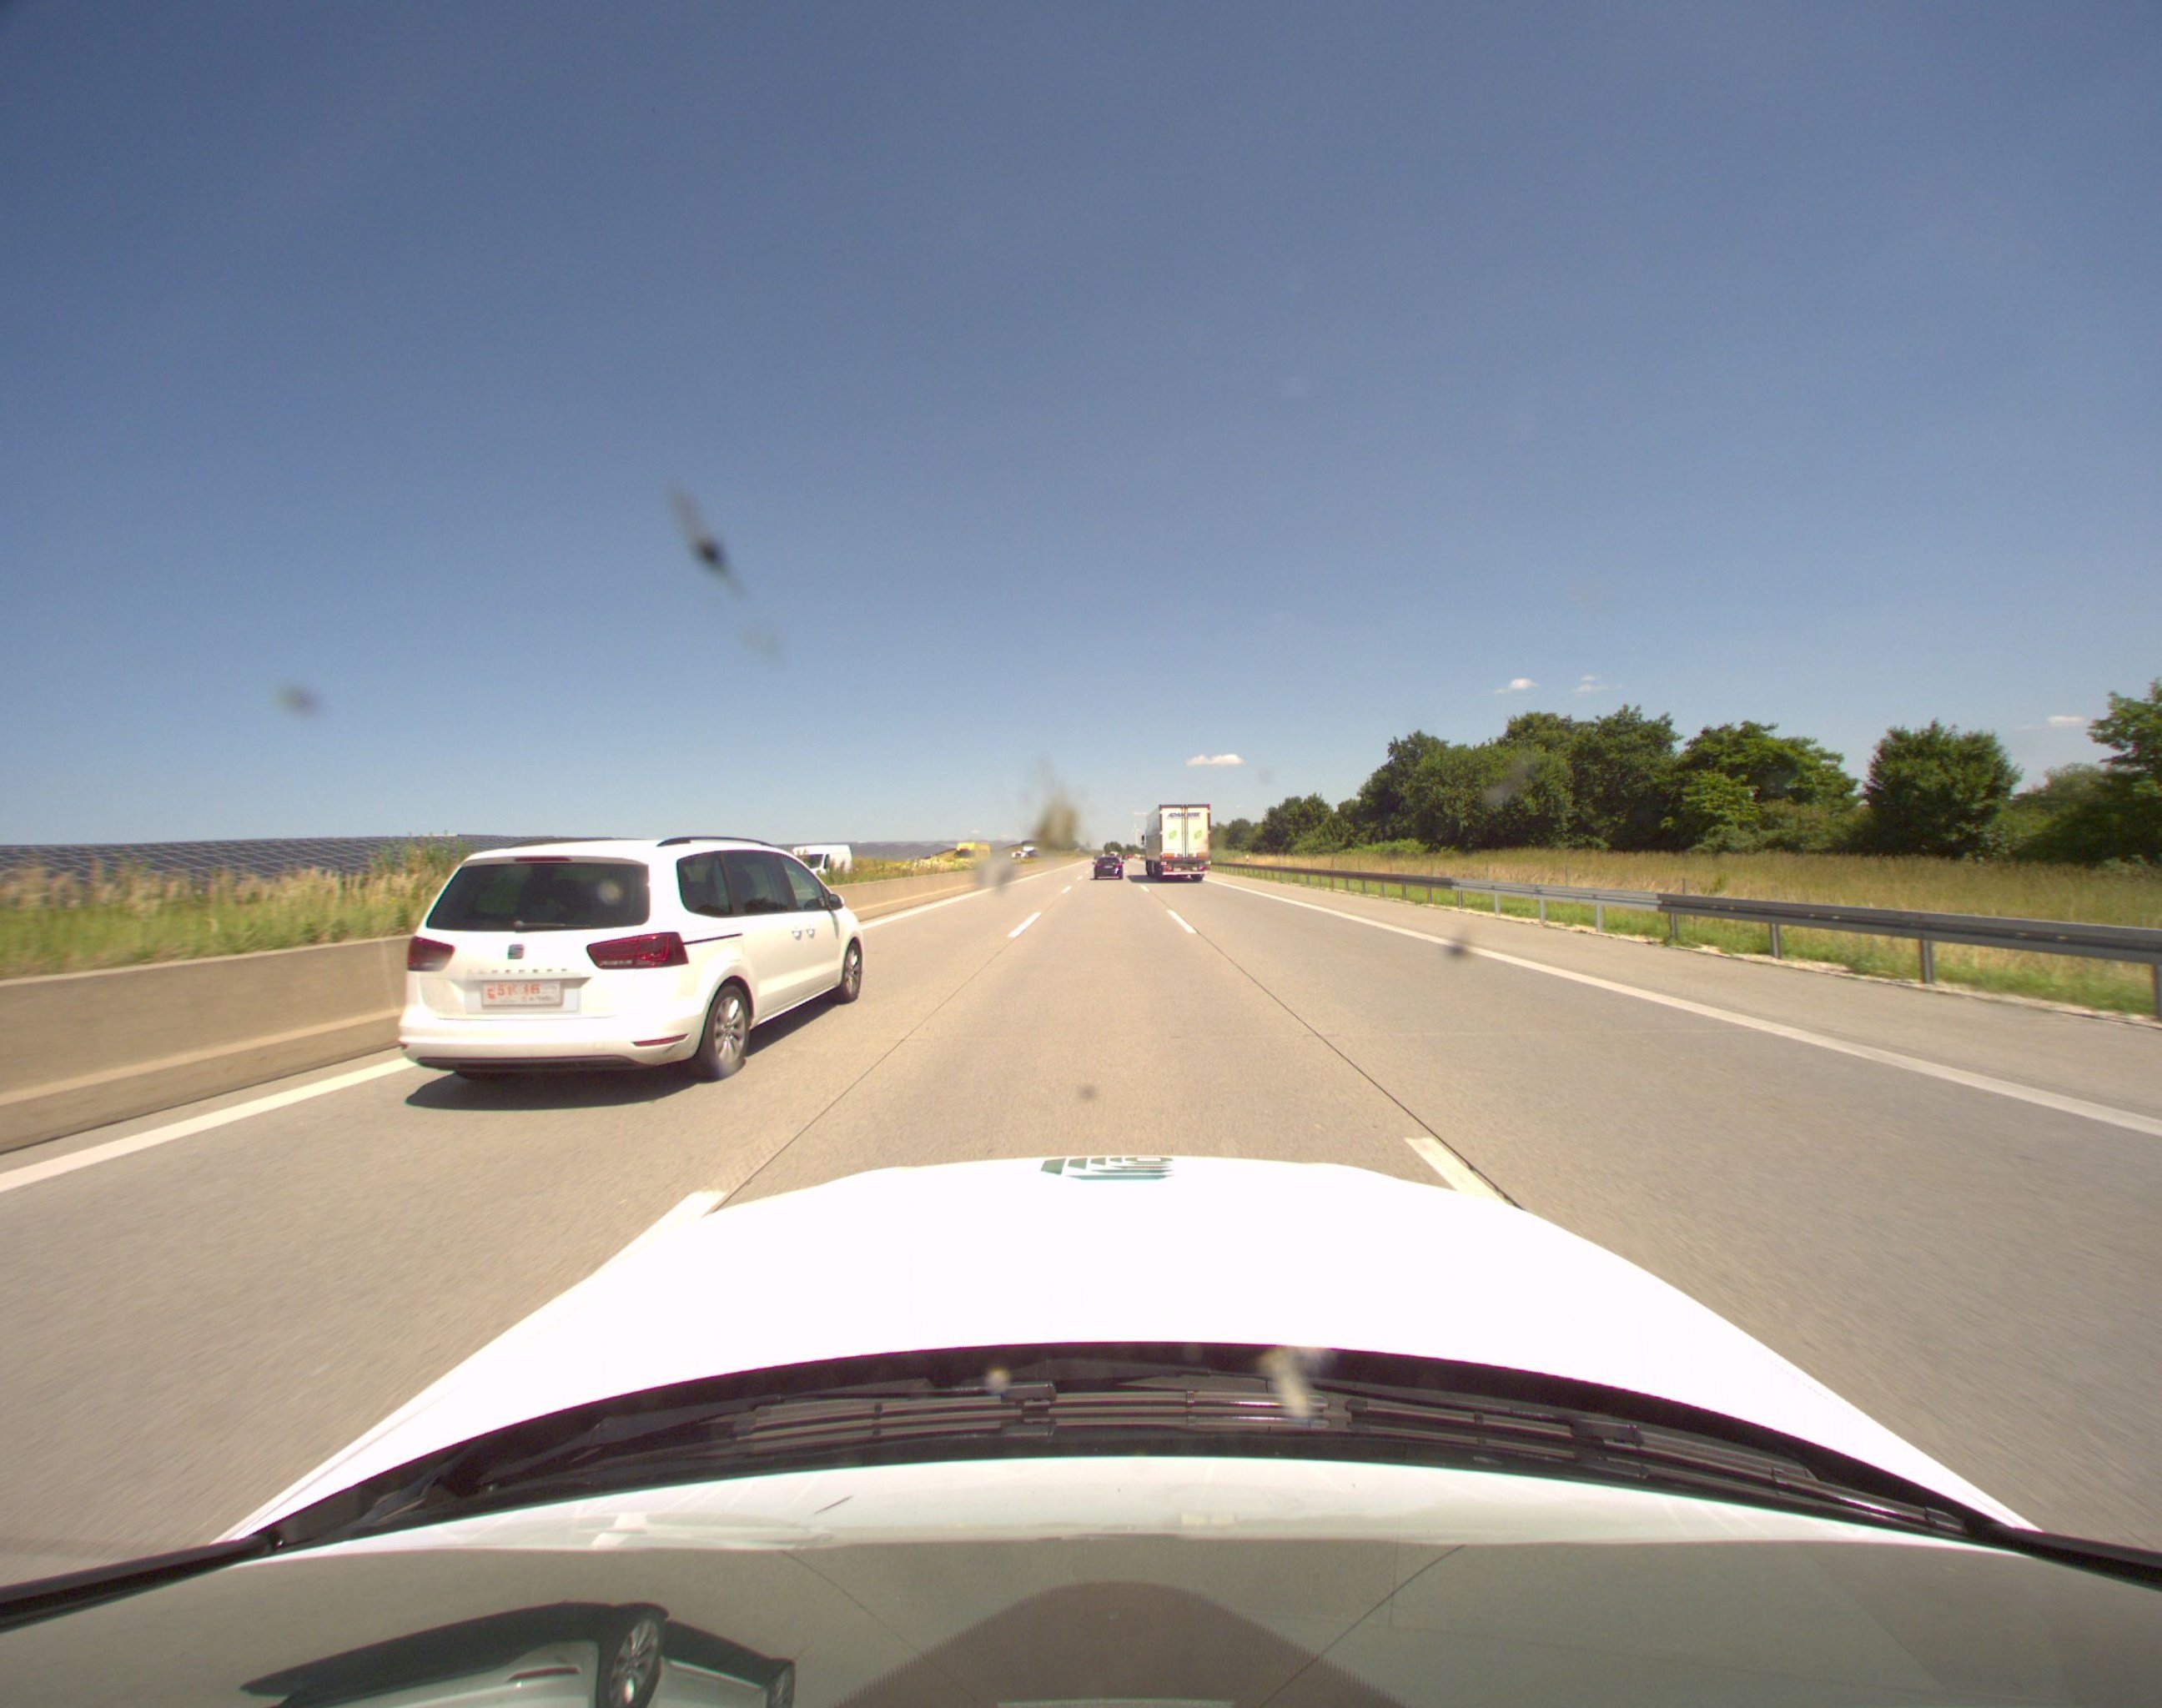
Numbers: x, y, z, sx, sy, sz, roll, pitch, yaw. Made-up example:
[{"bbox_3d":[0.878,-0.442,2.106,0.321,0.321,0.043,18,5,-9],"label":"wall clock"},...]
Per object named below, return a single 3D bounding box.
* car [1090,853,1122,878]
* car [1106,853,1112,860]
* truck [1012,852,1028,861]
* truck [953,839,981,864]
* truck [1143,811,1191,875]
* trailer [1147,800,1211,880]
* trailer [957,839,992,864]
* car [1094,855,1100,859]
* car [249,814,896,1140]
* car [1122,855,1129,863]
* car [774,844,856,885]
[{"bbox_3d":[1.536,0.672,50.457,1.904,1.492,4.192,0,0,1],"label":"car"},{"bbox_3d":[8.609,0.737,253.513,1.820,1.937,3.810,-1,-1,1],"label":"car"},{"bbox_3d":[-13.118,0.546,176.101,2.507,2.014,7.633,0,-1,2],"label":"truck"},{"bbox_3d":[-16.552,-0.362,118.272,2.911,3.540,6.351,-1,-1,2],"label":"truck"},{"bbox_3d":[5.812,-0.702,55.835,2.801,4.088,5.801,-1,0,2],"label":"truck"},{"bbox_3d":[5.478,-0.687,47.697,2.841,4.042,12.722,-1,0,3],"label":"trailer"},{"bbox_3d":[-16.239,-0.300,125.073,2.920,3.551,14.026,0,-1,2],"label":"trailer"},{"bbox_3d":[4.598,0.817,233.570,1.649,1.196,3.962,2,0,2],"label":"car"},{"bbox_3d":[-3.371,0.680,7.311,1.838,1.708,6.038,0,-1,2],"label":"car"},{"bbox_3d":[12.125,1.382,223.384,1.820,1.907,4.001,-1,0,1],"label":"car"},{"bbox_3d":[-13.847,0.543,42.913,2.176,2.014,6.349,0,-1,1],"label":"car"}]
